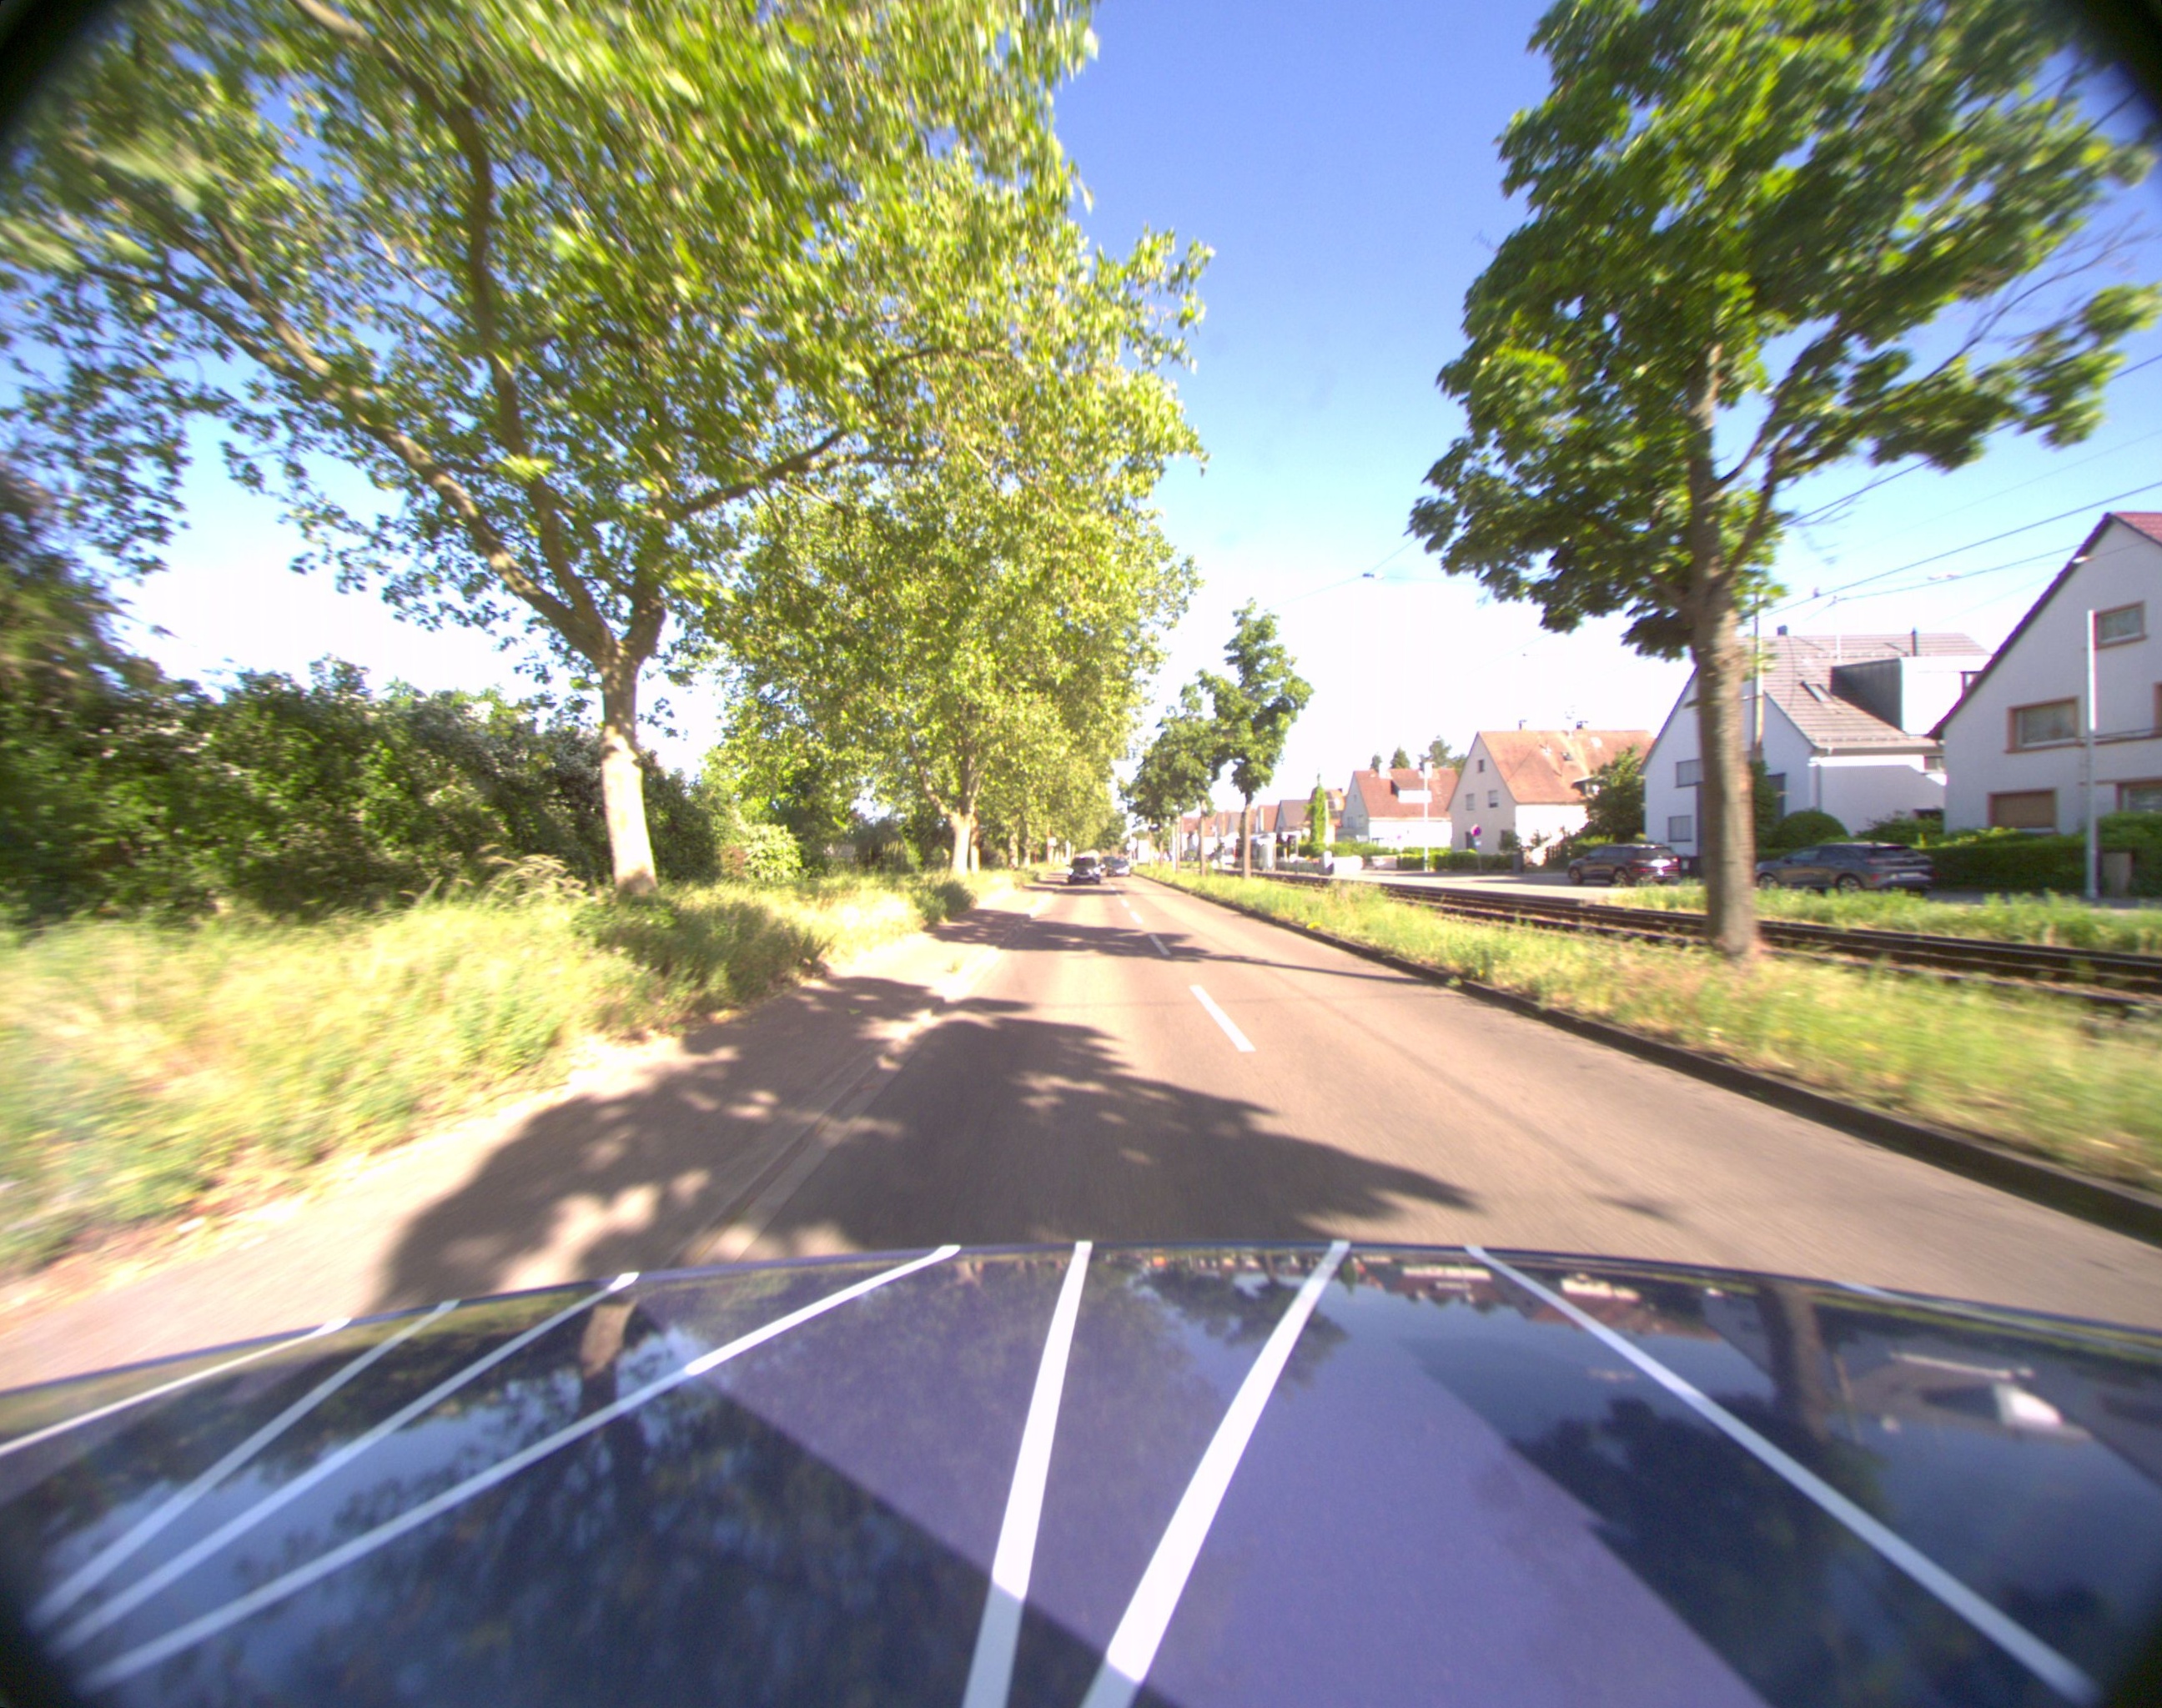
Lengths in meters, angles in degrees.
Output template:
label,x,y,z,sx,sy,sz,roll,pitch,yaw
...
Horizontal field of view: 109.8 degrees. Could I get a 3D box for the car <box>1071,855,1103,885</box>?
label,x,y,z,sx,sy,sz,roll,pitch,yaw
car,0.340,0.871,43.158,1.692,1.499,3.582,-3,1,1

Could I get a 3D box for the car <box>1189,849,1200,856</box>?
label,x,y,z,sx,sy,sz,roll,pitch,yaw
car,23.820,-0.298,159.258,1.738,1.481,3.756,-2,1,1

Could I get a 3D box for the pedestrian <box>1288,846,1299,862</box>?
label,x,y,z,sx,sy,sz,roll,pitch,yaw
pedestrian,21.706,0.009,77.554,0.814,1.525,0.793,-1,-1,-16

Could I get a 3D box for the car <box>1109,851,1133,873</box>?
label,x,y,z,sx,sy,sz,roll,pitch,yaw
car,3.044,0.600,58.751,1.692,1.499,3.582,-2,1,1

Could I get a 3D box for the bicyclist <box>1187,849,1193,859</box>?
label,x,y,z,sx,sy,sz,roll,pitch,yaw
bicyclist,21.288,-0.079,148.330,0.854,1.876,1.072,-2,1,1

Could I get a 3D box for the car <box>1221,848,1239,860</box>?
label,x,y,z,sx,sy,sz,roll,pitch,yaw
car,23.481,-0.020,119.941,1.998,1.668,4.839,-2,1,1

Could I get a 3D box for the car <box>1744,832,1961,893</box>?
label,x,y,z,sx,sy,sz,roll,pitch,yaw
car,21.876,0.200,21.854,1.931,1.486,4.255,-2,1,1

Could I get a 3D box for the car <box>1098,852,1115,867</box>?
label,x,y,z,sx,sy,sz,roll,pitch,yaw
car,2.706,0.536,82.102,1.692,1.499,3.582,-2,1,1

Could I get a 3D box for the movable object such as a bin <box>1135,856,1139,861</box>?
label,x,y,z,sx,sy,sz,roll,pitch,yaw
movable object such as a bin,6.504,0.561,88.565,0.387,0.579,0.379,-2,1,9

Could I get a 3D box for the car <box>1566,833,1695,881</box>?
label,x,y,z,sx,sy,sz,roll,pitch,yaw
car,21.900,0.082,30.530,1.998,1.703,4.390,-2,1,1

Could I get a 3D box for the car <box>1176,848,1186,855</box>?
label,x,y,z,sx,sy,sz,roll,pitch,yaw
car,23.182,-0.547,175.929,1.756,1.373,3.823,-2,1,1

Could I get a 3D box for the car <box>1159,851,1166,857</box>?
label,x,y,z,sx,sy,sz,roll,pitch,yaw
car,24.400,-0.061,227.641,1.791,1.497,4.001,-2,1,4
